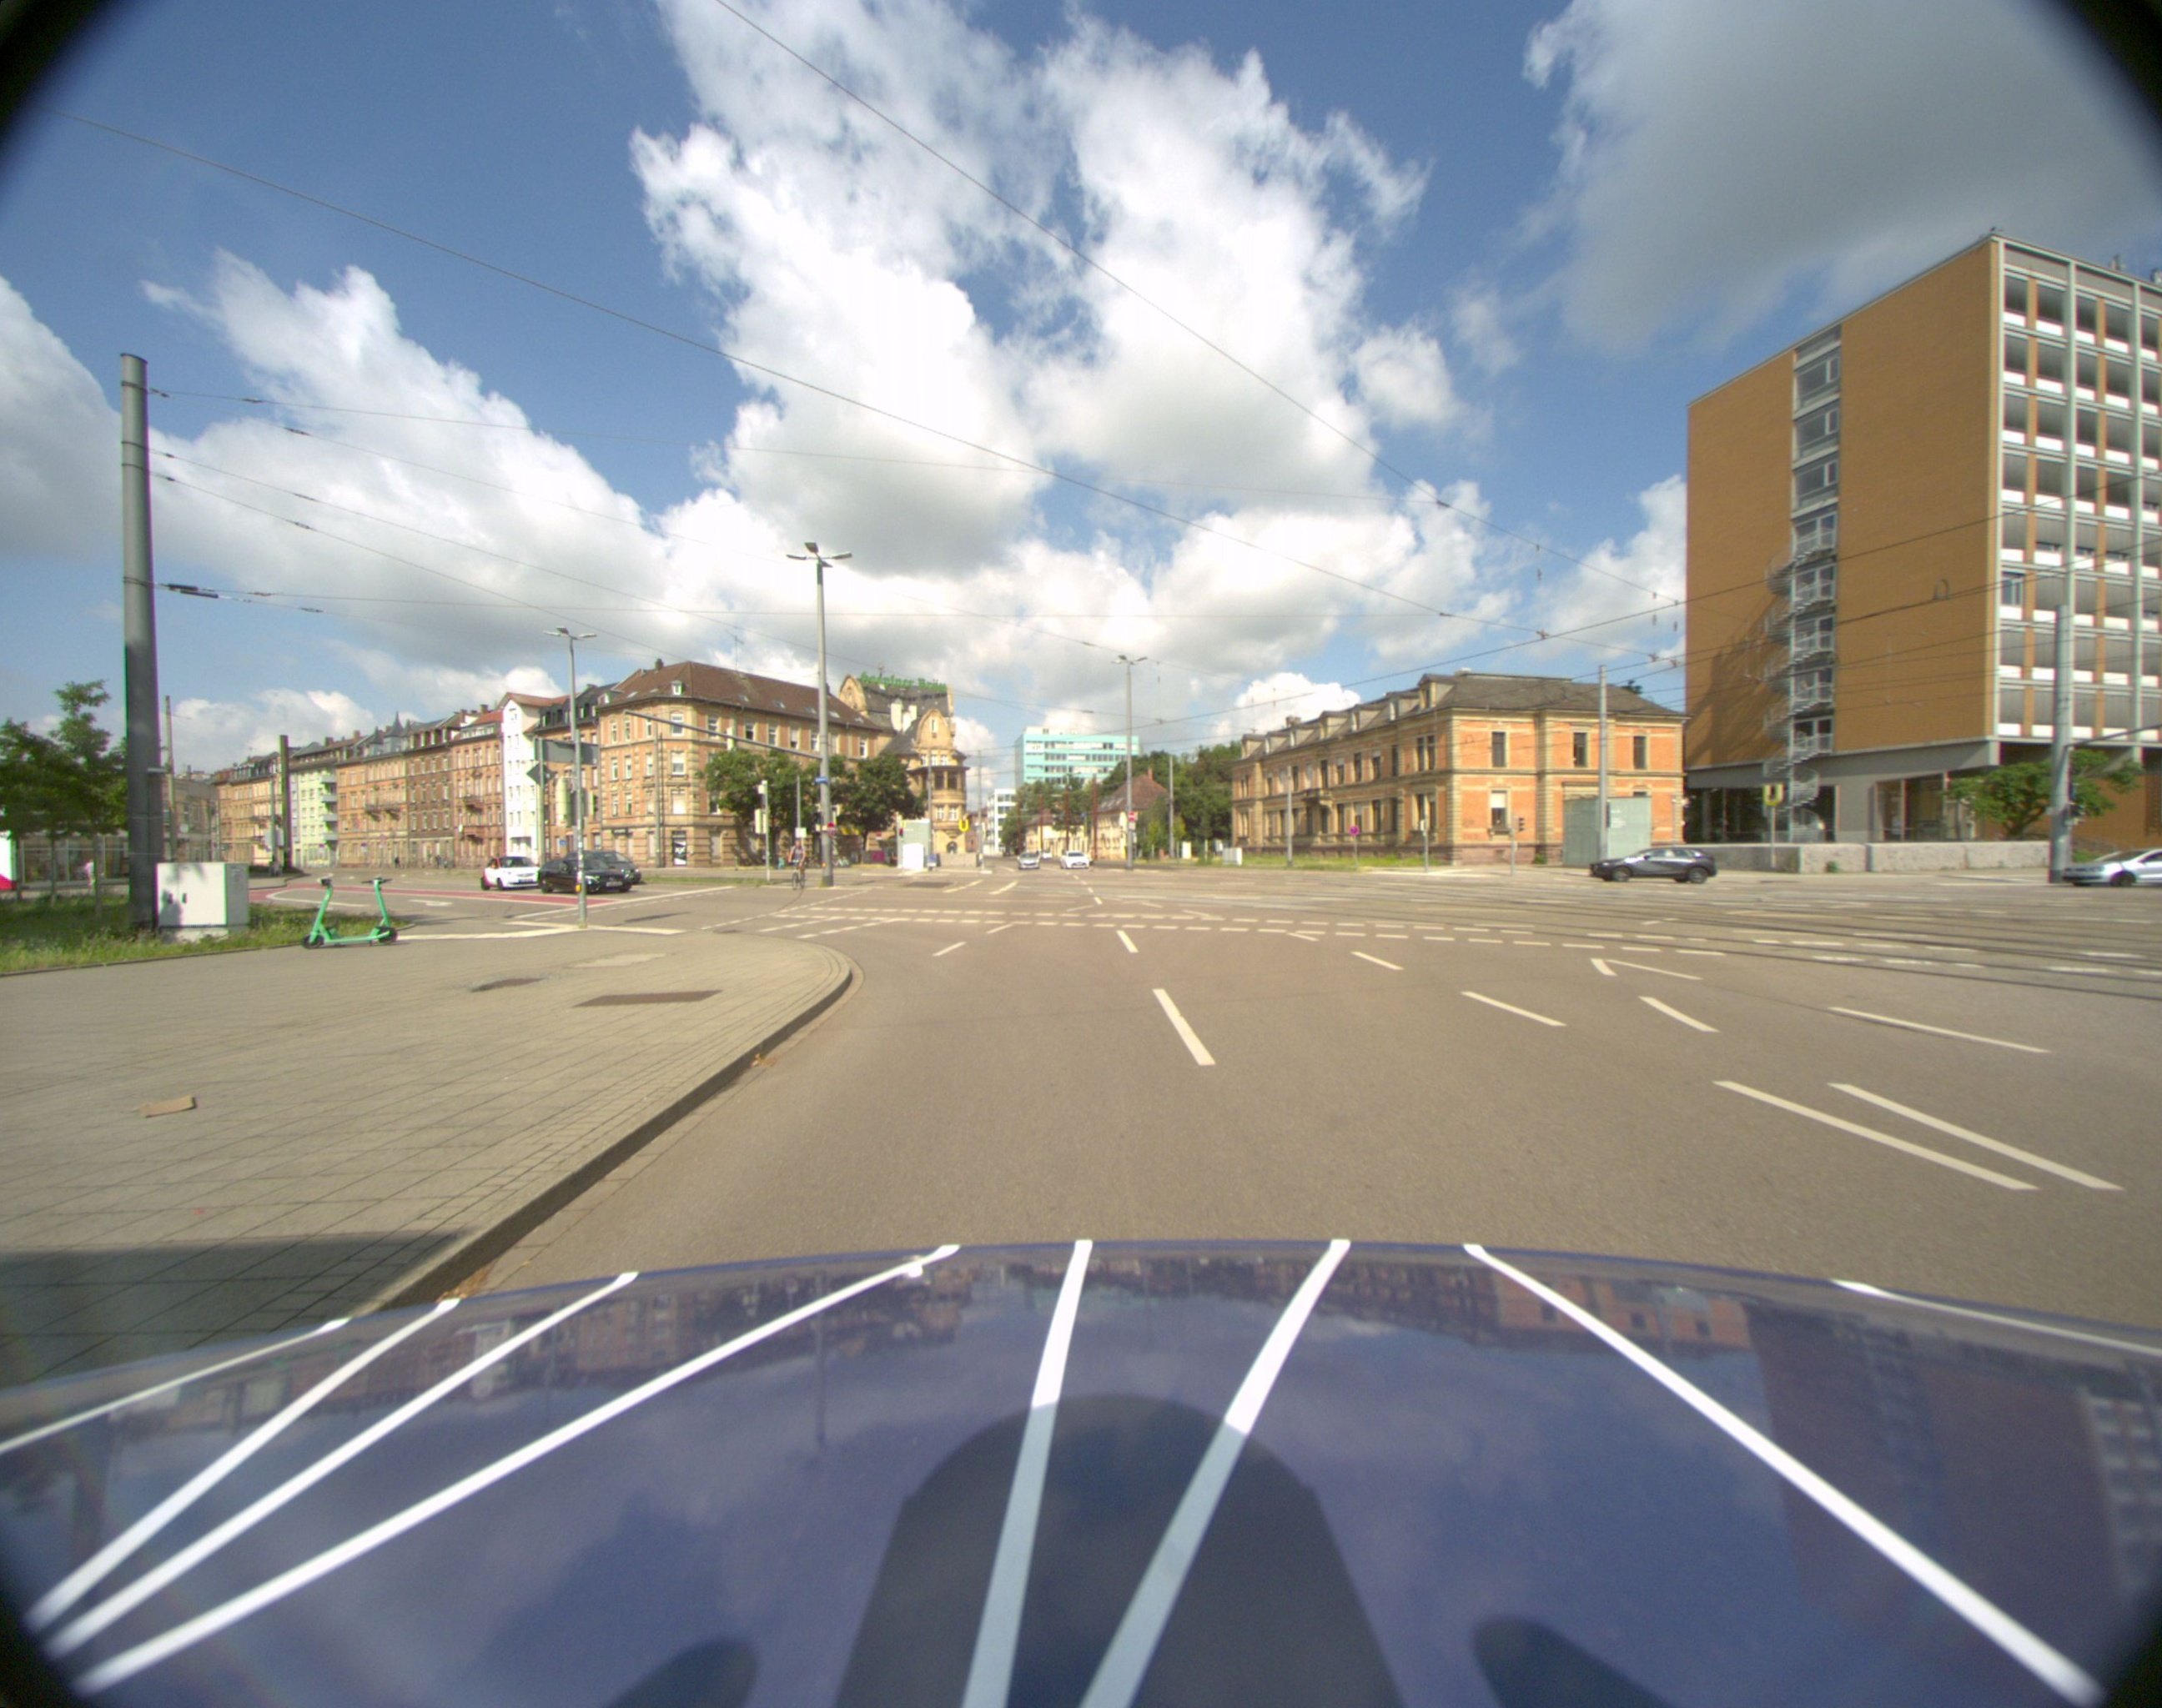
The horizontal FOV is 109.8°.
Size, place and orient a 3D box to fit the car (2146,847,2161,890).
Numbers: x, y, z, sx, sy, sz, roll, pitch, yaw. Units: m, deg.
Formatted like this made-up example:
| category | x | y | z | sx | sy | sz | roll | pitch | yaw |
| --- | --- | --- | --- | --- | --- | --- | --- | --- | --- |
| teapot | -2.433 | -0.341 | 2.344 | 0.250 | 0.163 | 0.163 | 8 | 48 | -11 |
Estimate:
| category | x | y | z | sx | sy | sz | roll | pitch | yaw |
| --- | --- | --- | --- | --- | --- | --- | --- | --- | --- |
| car | 38.125 | 0.436 | 24.270 | 4.665 | 1.421 | 1.766 | -1 | -1 | 16 |

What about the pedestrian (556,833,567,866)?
| category | x | y | z | sx | sy | sz | roll | pitch | yaw |
| --- | --- | --- | --- | --- | --- | --- | --- | --- | --- |
| pedestrian | -49.691 | -0.383 | 72.639 | 0.885 | 3.101 | 0.669 | -1 | -1 | 40 |

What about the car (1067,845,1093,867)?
| category | x | y | z | sx | sy | sz | roll | pitch | yaw |
| --- | --- | --- | --- | --- | --- | --- | --- | --- | --- |
| car | -0.119 | 0.186 | 60.773 | 1.956 | 1.586 | 4.506 | -1 | -1 | -2 |

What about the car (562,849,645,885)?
| category | x | y | z | sx | sy | sz | roll | pitch | yaw |
| --- | --- | --- | --- | --- | --- | --- | --- | --- | --- |
| car | -22.230 | 0.555 | 35.373 | 3.726 | 1.565 | 2.004 | 0 | 1 | 36 |

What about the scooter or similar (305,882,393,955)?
| category | x | y | z | sx | sy | sz | roll | pitch | yaw |
| --- | --- | --- | --- | --- | --- | --- | --- | --- | --- |
| scooter or similar | -12.741 | 1.102 | 13.241 | 0.380 | 1.189 | 1.067 | -1 | -1 | 42 |

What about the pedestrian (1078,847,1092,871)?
| category | x | y | z | sx | sy | sz | roll | pitch | yaw |
| --- | --- | --- | --- | --- | --- | --- | --- | --- | --- |
| pedestrian | 0.237 | 0.317 | 49.734 | 0.543 | 1.507 | 0.744 | 0 | 1 | 39 |

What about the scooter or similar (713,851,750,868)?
| category | x | y | z | sx | sy | sz | roll | pitch | yaw |
| --- | --- | --- | --- | --- | --- | --- | --- | --- | --- |
| scooter or similar | -28.803 | 0.452 | 62.571 | 2.797 | 1.377 | 1.182 | -1 | -1 | 25 |

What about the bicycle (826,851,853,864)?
| category | x | y | z | sx | sy | sz | roll | pitch | yaw |
| --- | --- | --- | --- | --- | --- | --- | --- | --- | --- |
| bicycle | -22.289 | 0.354 | 70.053 | 2.677 | 1.159 | 0.763 | 0 | 1 | 33 |

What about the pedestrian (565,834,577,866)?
| category | x | y | z | sx | sy | sz | roll | pitch | yaw |
| --- | --- | --- | --- | --- | --- | --- | --- | --- | --- |
| pedestrian | -49.193 | -0.366 | 73.223 | 0.885 | 3.057 | 0.728 | -1 | -1 | 40 |

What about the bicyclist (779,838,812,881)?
| category | x | y | z | sx | sy | sz | roll | pitch | yaw |
| --- | --- | --- | --- | --- | --- | --- | --- | --- | --- |
| bicyclist | -11.423 | 0.222 | 30.376 | 0.614 | 1.664 | 1.150 | -1 | -1 | 20 |

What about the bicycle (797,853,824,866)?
| category | x | y | z | sx | sy | sz | roll | pitch | yaw |
| --- | --- | --- | --- | --- | --- | --- | --- | --- | --- |
| bicycle | -23.921 | 0.500 | 67.275 | 2.677 | 1.159 | 0.763 | 0 | 1 | 33 |

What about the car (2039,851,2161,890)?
| category | x | y | z | sx | sy | sz | roll | pitch | yaw |
| --- | --- | --- | --- | --- | --- | --- | --- | --- | --- |
| car | 38.290 | 0.596 | 27.702 | 4.071 | 1.377 | 1.590 | -1 | -1 | 12 |

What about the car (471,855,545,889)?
| category | x | y | z | sx | sy | sz | roll | pitch | yaw |
| --- | --- | --- | --- | --- | --- | --- | --- | --- | --- |
| car | -25.950 | 0.806 | 34.389 | 3.646 | 1.461 | 1.694 | -2 | -1 | 36 |

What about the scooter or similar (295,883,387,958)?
| category | x | y | z | sx | sy | sz | roll | pitch | yaw |
| --- | --- | --- | --- | --- | --- | --- | --- | --- | --- |
| scooter or similar | -12.471 | 1.102 | 12.829 | 1.067 | 1.189 | 0.380 | 0 | -1 | -38 |

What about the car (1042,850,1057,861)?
| category | x | y | z | sx | sy | sz | roll | pitch | yaw |
| --- | --- | --- | --- | --- | --- | --- | --- | --- | --- |
| car | -6.073 | 0.378 | 145.523 | 2.001 | 2.001 | 3.995 | -1 | -1 | -17 |

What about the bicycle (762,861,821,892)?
| category | x | y | z | sx | sy | sz | roll | pitch | yaw |
| --- | --- | --- | --- | --- | --- | --- | --- | --- | --- |
| bicycle | -11.462 | 0.876 | 30.157 | 0.875 | 1.064 | 2.200 | -1 | 2 | 21 |

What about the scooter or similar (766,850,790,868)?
| category | x | y | z | sx | sy | sz | roll | pitch | yaw |
| --- | --- | --- | --- | --- | --- | --- | --- | --- | --- |
| scooter or similar | -26.295 | 0.406 | 65.896 | 2.008 | 1.474 | 0.882 | 2 | 2 | 31 |

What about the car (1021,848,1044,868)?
| category | x | y | z | sx | sy | sz | roll | pitch | yaw |
| --- | --- | --- | --- | --- | --- | --- | --- | --- | --- |
| car | -4.091 | 0.331 | 64.329 | 1.838 | 1.586 | 4.000 | -1 | -1 | -2 |

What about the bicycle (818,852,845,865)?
| category | x | y | z | sx | sy | sz | roll | pitch | yaw |
| --- | --- | --- | --- | --- | --- | --- | --- | --- | --- |
| bicycle | -22.696 | 0.384 | 69.103 | 2.677 | 1.159 | 0.763 | 0 | 1 | 33 |

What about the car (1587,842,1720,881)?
| category | x | y | z | sx | sy | sz | roll | pitch | yaw |
| --- | --- | --- | --- | --- | --- | --- | --- | --- | --- |
| car | 24.138 | 0.344 | 32.214 | 4.202 | 1.567 | 1.649 | -1 | -1 | 22 |

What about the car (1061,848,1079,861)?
| category | x | y | z | sx | sy | sz | roll | pitch | yaw |
| --- | --- | --- | --- | --- | --- | --- | --- | --- | --- |
| car | -1.836 | 0.059 | 127.206 | 2.001 | 2.001 | 3.995 | -1 | -1 | -17 |

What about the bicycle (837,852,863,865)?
| category | x | y | z | sx | sy | sz | roll | pitch | yaw |
| --- | --- | --- | --- | --- | --- | --- | --- | --- | --- |
| bicycle | -21.609 | 0.431 | 71.044 | 2.677 | 1.159 | 0.763 | 0 | 1 | 34 |

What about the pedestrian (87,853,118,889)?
| category | x | y | z | sx | sy | sz | roll | pitch | yaw |
| --- | --- | --- | --- | --- | --- | --- | --- | --- | --- |
| pedestrian | -55.688 | 0.944 | 43.257 | 0.704 | 2.002 | 0.870 | -1 | 1 | -24 |

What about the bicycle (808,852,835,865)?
| category | x | y | z | sx | sy | sz | roll | pitch | yaw |
| --- | --- | --- | --- | --- | --- | --- | --- | --- | --- |
| bicycle | -23.317 | 0.434 | 68.217 | 2.677 | 1.159 | 0.763 | 0 | 0 | 33 |

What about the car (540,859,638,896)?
| category | x | y | z | sx | sy | sz | roll | pitch | yaw |
| --- | --- | --- | --- | --- | --- | --- | --- | --- | --- |
| car | -19.688 | 0.895 | 30.365 | 3.929 | 1.368 | 1.874 | 0 | 1 | 35 |
